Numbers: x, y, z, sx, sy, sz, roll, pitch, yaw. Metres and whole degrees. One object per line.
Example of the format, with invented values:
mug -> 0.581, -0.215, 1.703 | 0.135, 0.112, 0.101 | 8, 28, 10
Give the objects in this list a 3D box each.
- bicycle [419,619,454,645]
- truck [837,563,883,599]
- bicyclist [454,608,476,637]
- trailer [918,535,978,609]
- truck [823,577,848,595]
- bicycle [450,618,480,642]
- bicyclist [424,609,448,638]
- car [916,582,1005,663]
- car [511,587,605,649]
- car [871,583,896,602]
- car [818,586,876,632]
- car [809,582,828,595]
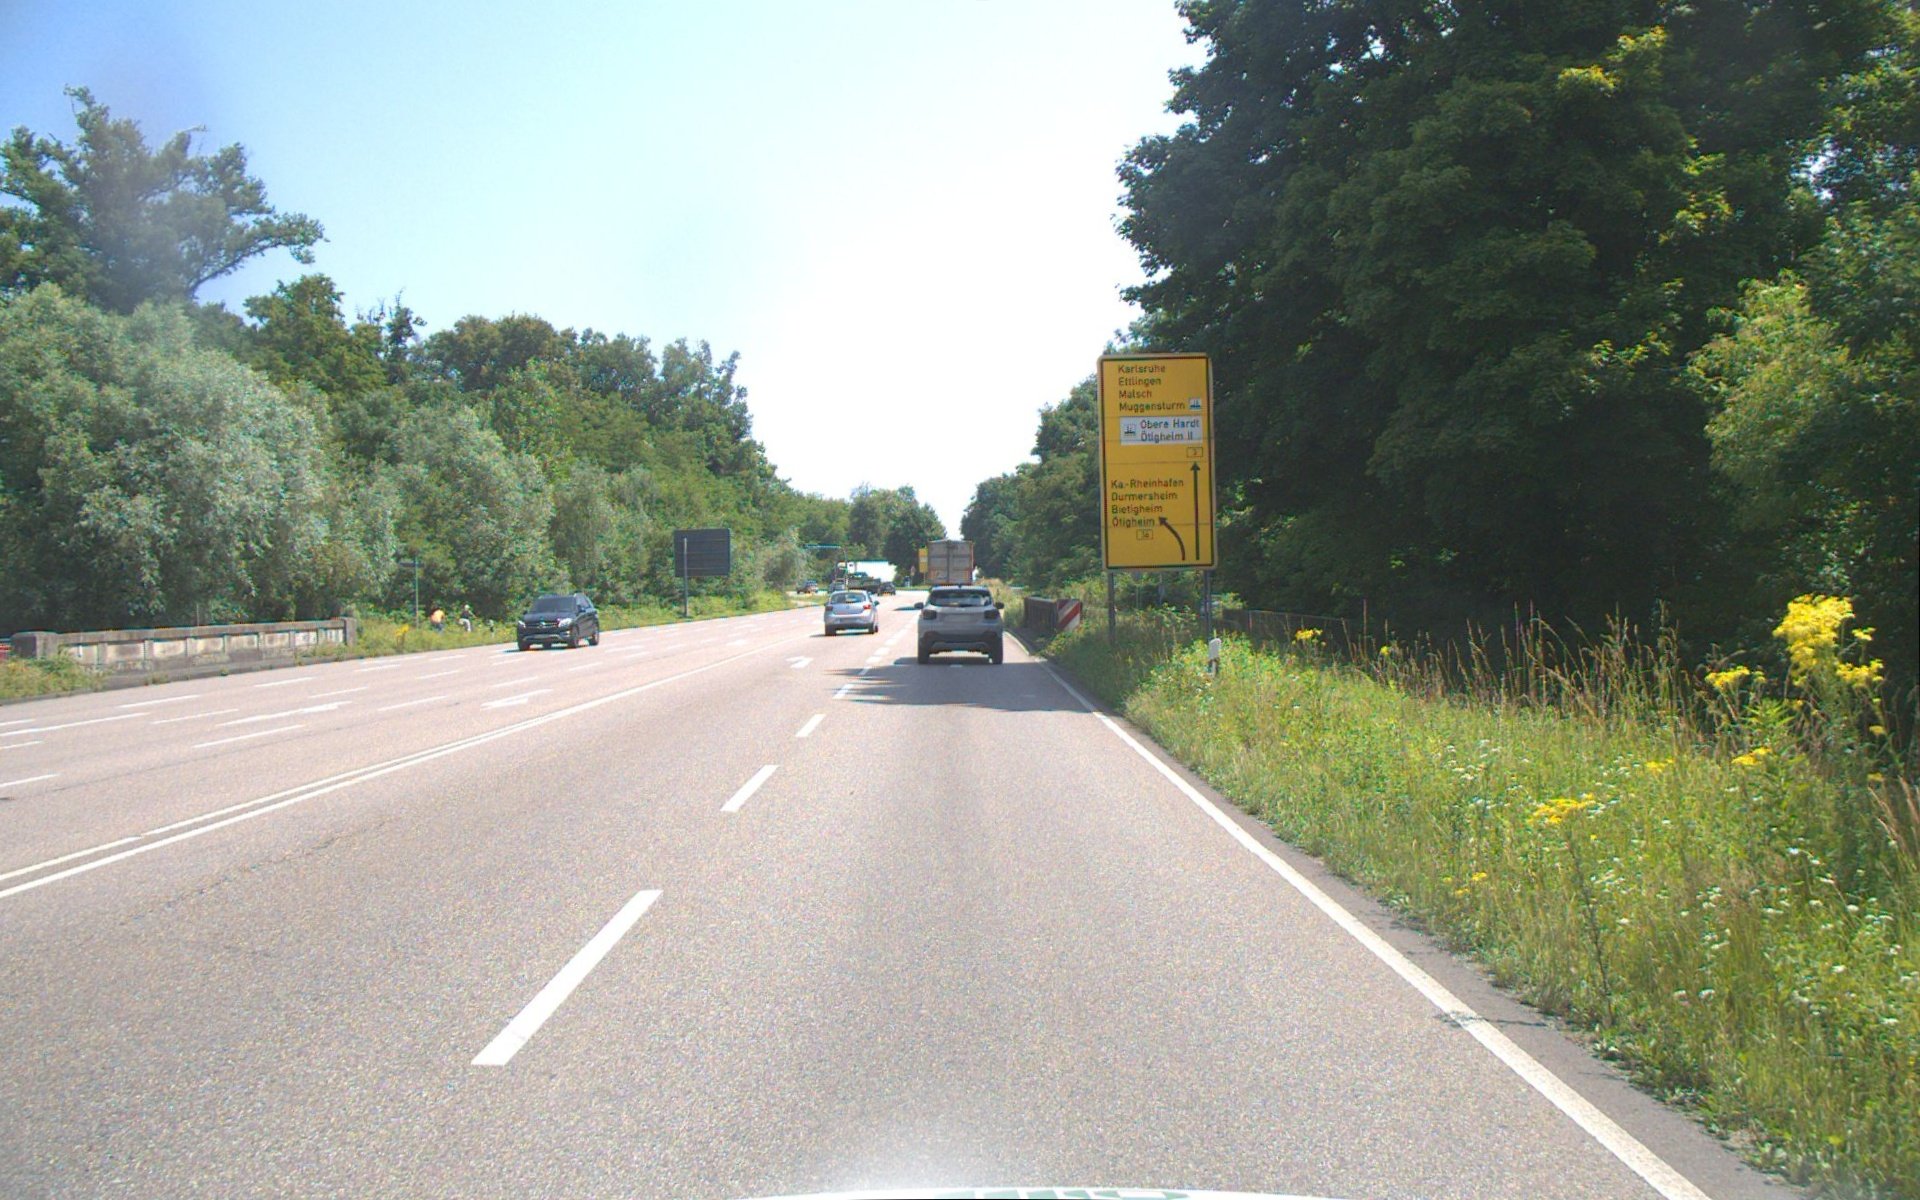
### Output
bicycle -> -22.494, 1.363, 71.072 | 0.661, 1.022, 1.802 | -3, 1, 9
truck -> -12.002, -2.205, 197.923 | 3.587, 4.177, 9.467 | 0, 0, -16
bicyclist -> -22.182, 1.008, 74.133 | 0.719, 1.216, 0.592 | -3, 0, 11
trailer -> -0.653, -1.571, 96.822 | 3.313, 4.058, 10.803 | 0, 0, 0
truck -> -15.997, -1.811, 212.848 | 2.102, 2.235, 4.631 | 0, 0, -19
bicycle -> -22.165, 1.329, 74.122 | 0.591, 1.023, 1.557 | -3, 0, 11
bicyclist -> -22.516, 1.002, 71.063 | 0.741, 1.216, 0.592 | -3, 0, 10
car -> 0.028, 0.426, 34.621 | 1.731, 1.561, 4.000 | -1, 1, 0
car -> -13.499, 0.571, 55.803 | 1.953, 1.914, 4.959 | -2, 0, -1
car -> -8.427, -0.830, 182.007 | 1.958, 2.049, 4.541 | -2, 0, -11
car -> -3.728, 0.282, 54.917 | 1.631, 1.455, 3.828 | 0, 1, 0
car -> -19.080, -1.535, 222.627 | 1.960, 1.613, 3.985 | 0, 0, -14
